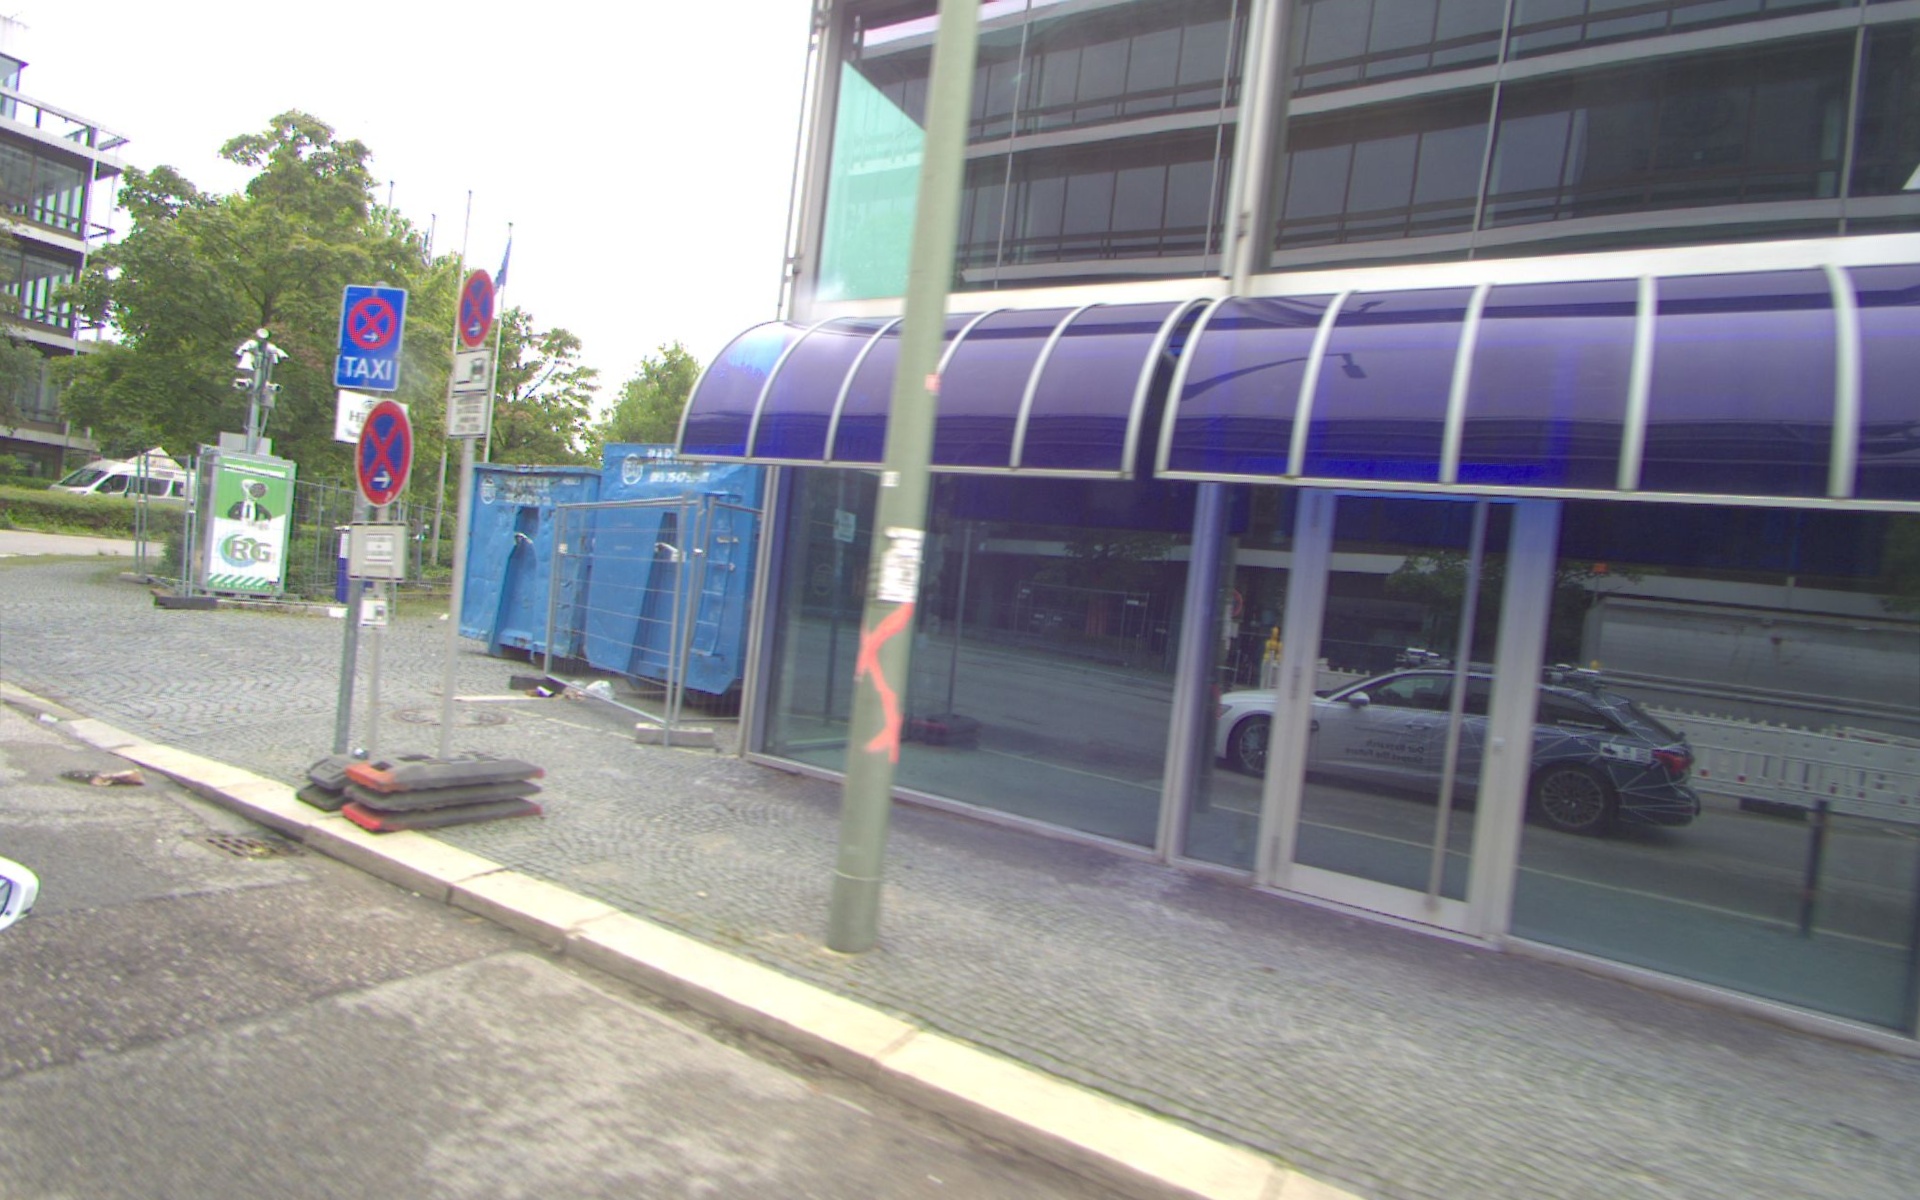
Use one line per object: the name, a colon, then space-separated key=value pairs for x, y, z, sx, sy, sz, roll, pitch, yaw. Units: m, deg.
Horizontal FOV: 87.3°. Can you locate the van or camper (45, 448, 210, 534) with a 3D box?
van or camper: x=-33.056 y=-4.263 z=40.124 sx=2.069 sy=2.617 sz=4.464 roll=7 pitch=0 yaw=21
